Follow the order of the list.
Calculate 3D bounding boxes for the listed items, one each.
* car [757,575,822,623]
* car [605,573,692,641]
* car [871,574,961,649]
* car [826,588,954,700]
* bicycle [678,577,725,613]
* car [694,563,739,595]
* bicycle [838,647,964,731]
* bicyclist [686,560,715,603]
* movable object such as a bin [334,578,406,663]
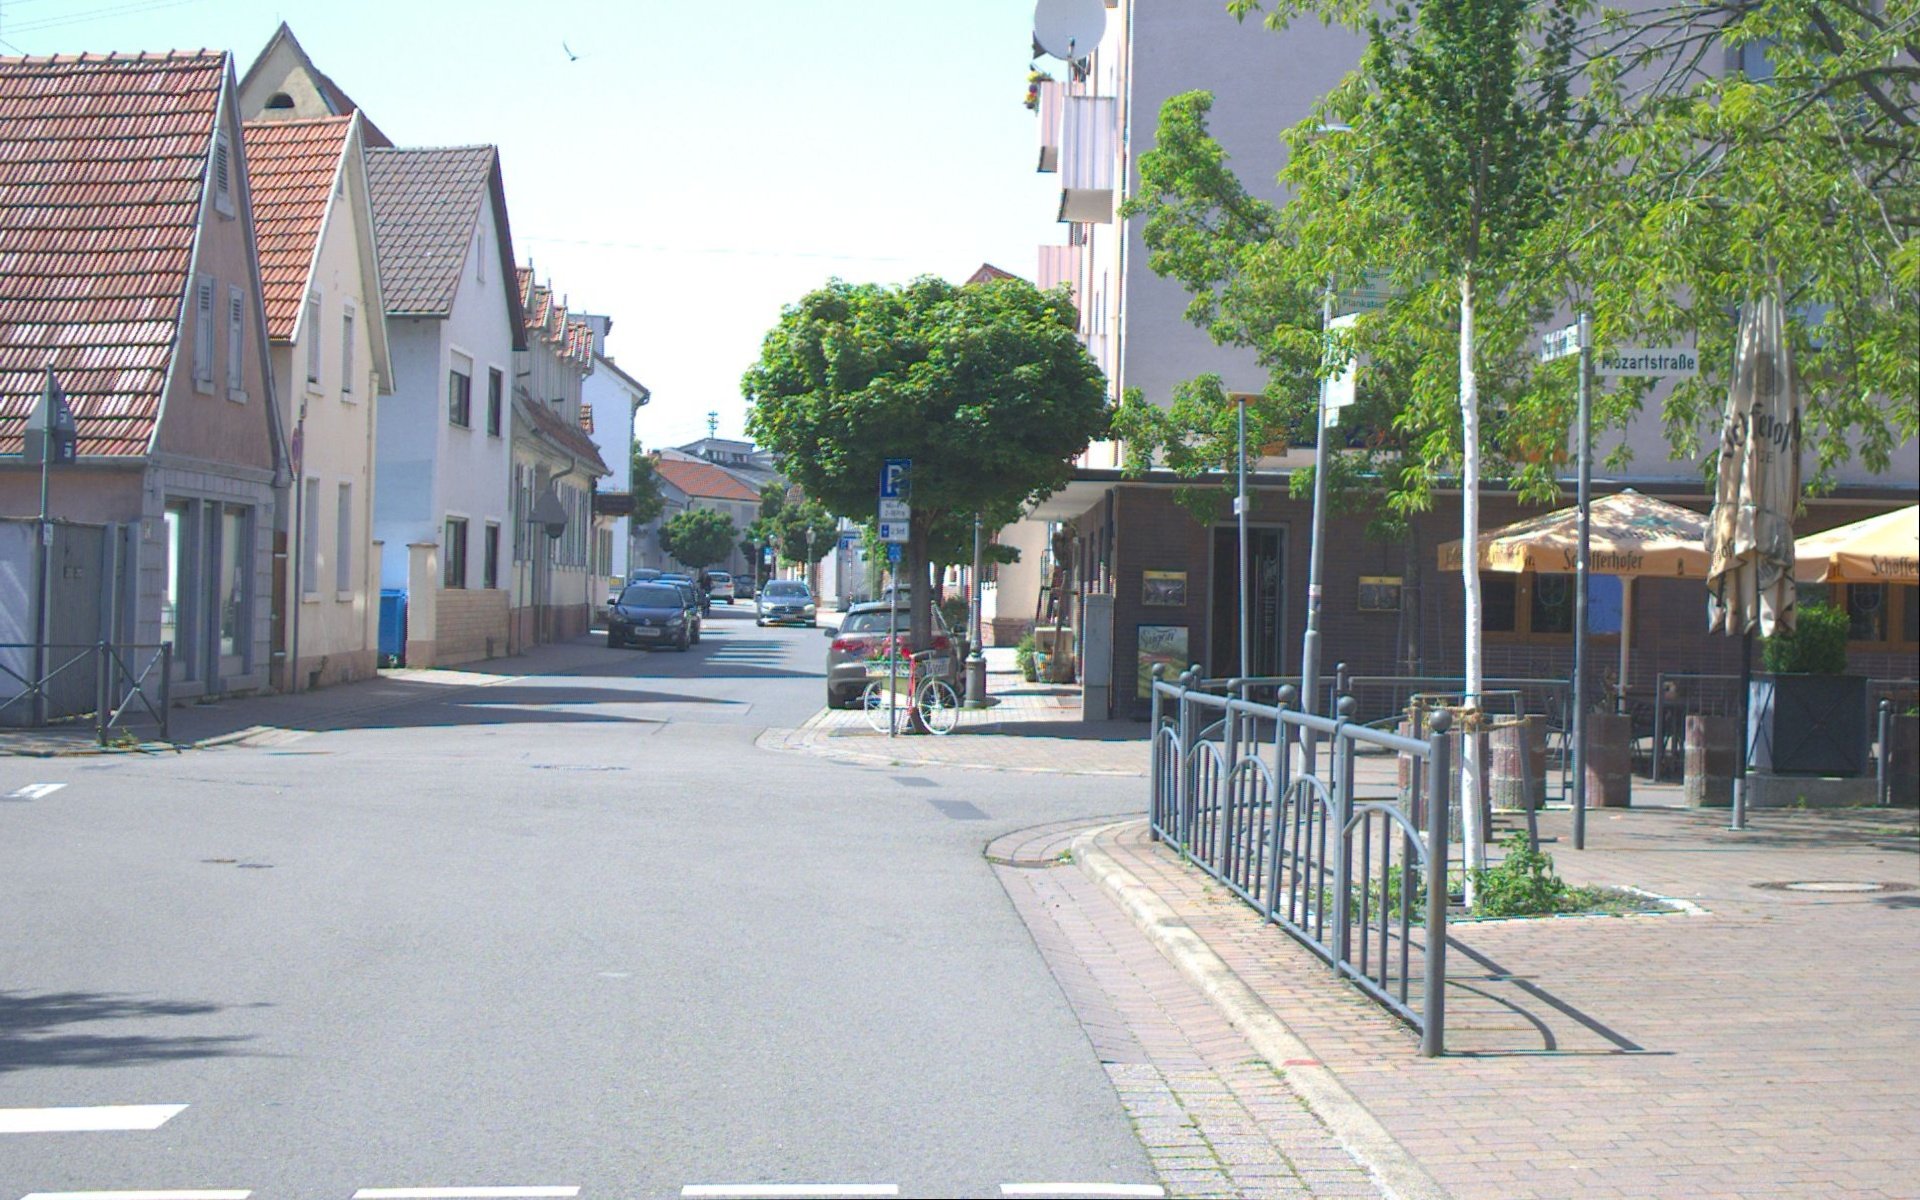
[{"bbox_3d":[-5.467,-0.005,109.864,1.909,1.476,4.845,1,0,-4],"label":"car"},{"bbox_3d":[-7.021,0.149,77.855,1.663,1.471,4.135,1,0,-1],"label":"car"},{"bbox_3d":[-1.021,0.253,80.716,2.043,1.683,4.842,1,0,0],"label":"car"},{"bbox_3d":[-0.924,0.579,46.848,1.576,1.449,3.486,1,0,1],"label":"car"},{"bbox_3d":[-9.946,-0.200,132.088,1.623,1.366,3.927,1,0,-6],"label":"bicycle"},{"bbox_3d":[-12.597,-1.102,178.157,2.027,1.592,4.509,1,0,-1],"label":"car"},{"bbox_3d":[-0.661,0.979,38.224,1.412,0.894,0.464,0,1,36],"label":"bicycle"},{"bbox_3d":[-9.960,-0.722,132.035,1.046,1.632,1.128,1,0,-6],"label":"bicyclist"},{"bbox_3d":[-9.686,0.335,56.436,1.102,1.361,0.390,1,0,3],"label":"movable object such as a bin"}]
